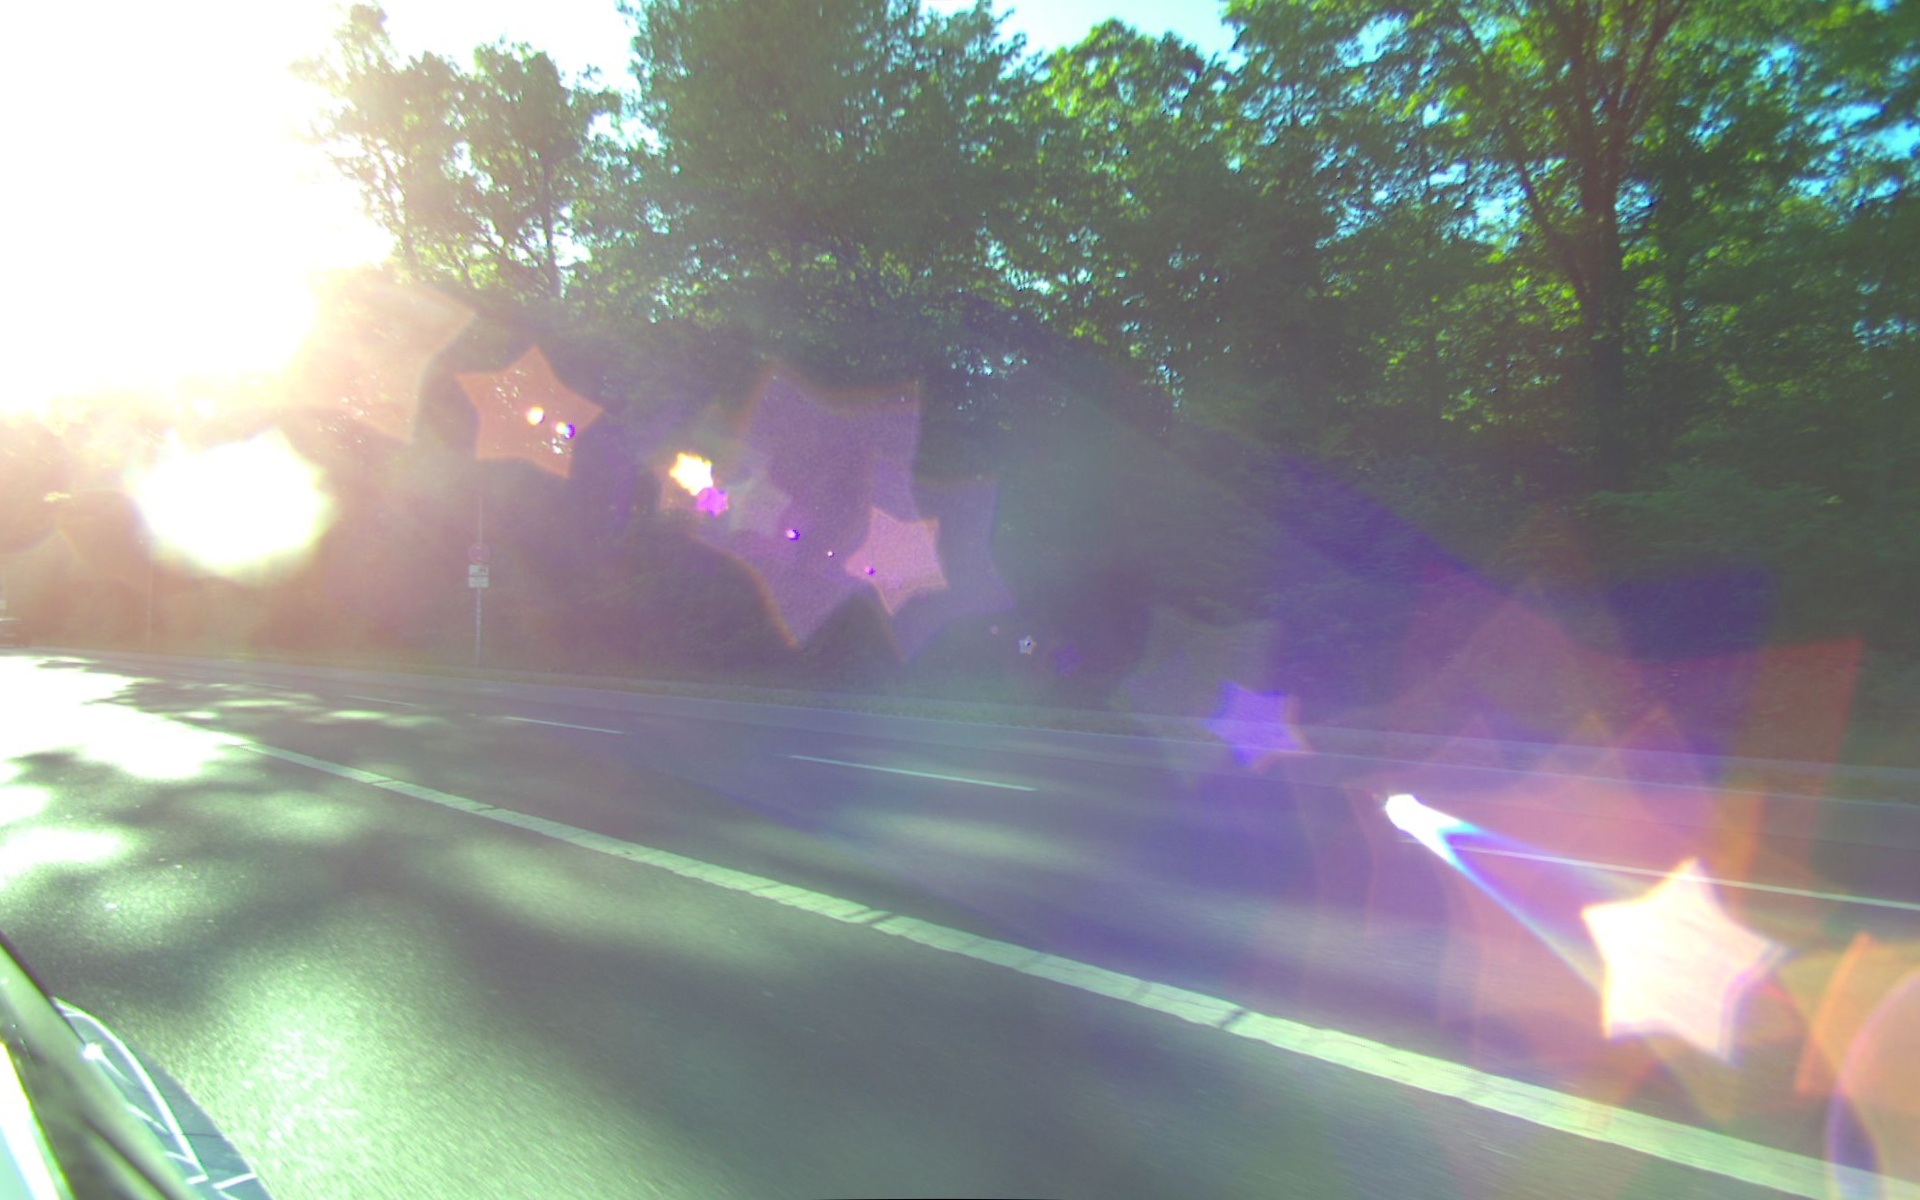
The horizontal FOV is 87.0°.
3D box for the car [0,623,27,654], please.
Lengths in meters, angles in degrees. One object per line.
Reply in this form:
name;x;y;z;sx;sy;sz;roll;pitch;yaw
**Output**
car;-47.668;1.912;50.242;3.496;1.455;1.481;-2;0;39
